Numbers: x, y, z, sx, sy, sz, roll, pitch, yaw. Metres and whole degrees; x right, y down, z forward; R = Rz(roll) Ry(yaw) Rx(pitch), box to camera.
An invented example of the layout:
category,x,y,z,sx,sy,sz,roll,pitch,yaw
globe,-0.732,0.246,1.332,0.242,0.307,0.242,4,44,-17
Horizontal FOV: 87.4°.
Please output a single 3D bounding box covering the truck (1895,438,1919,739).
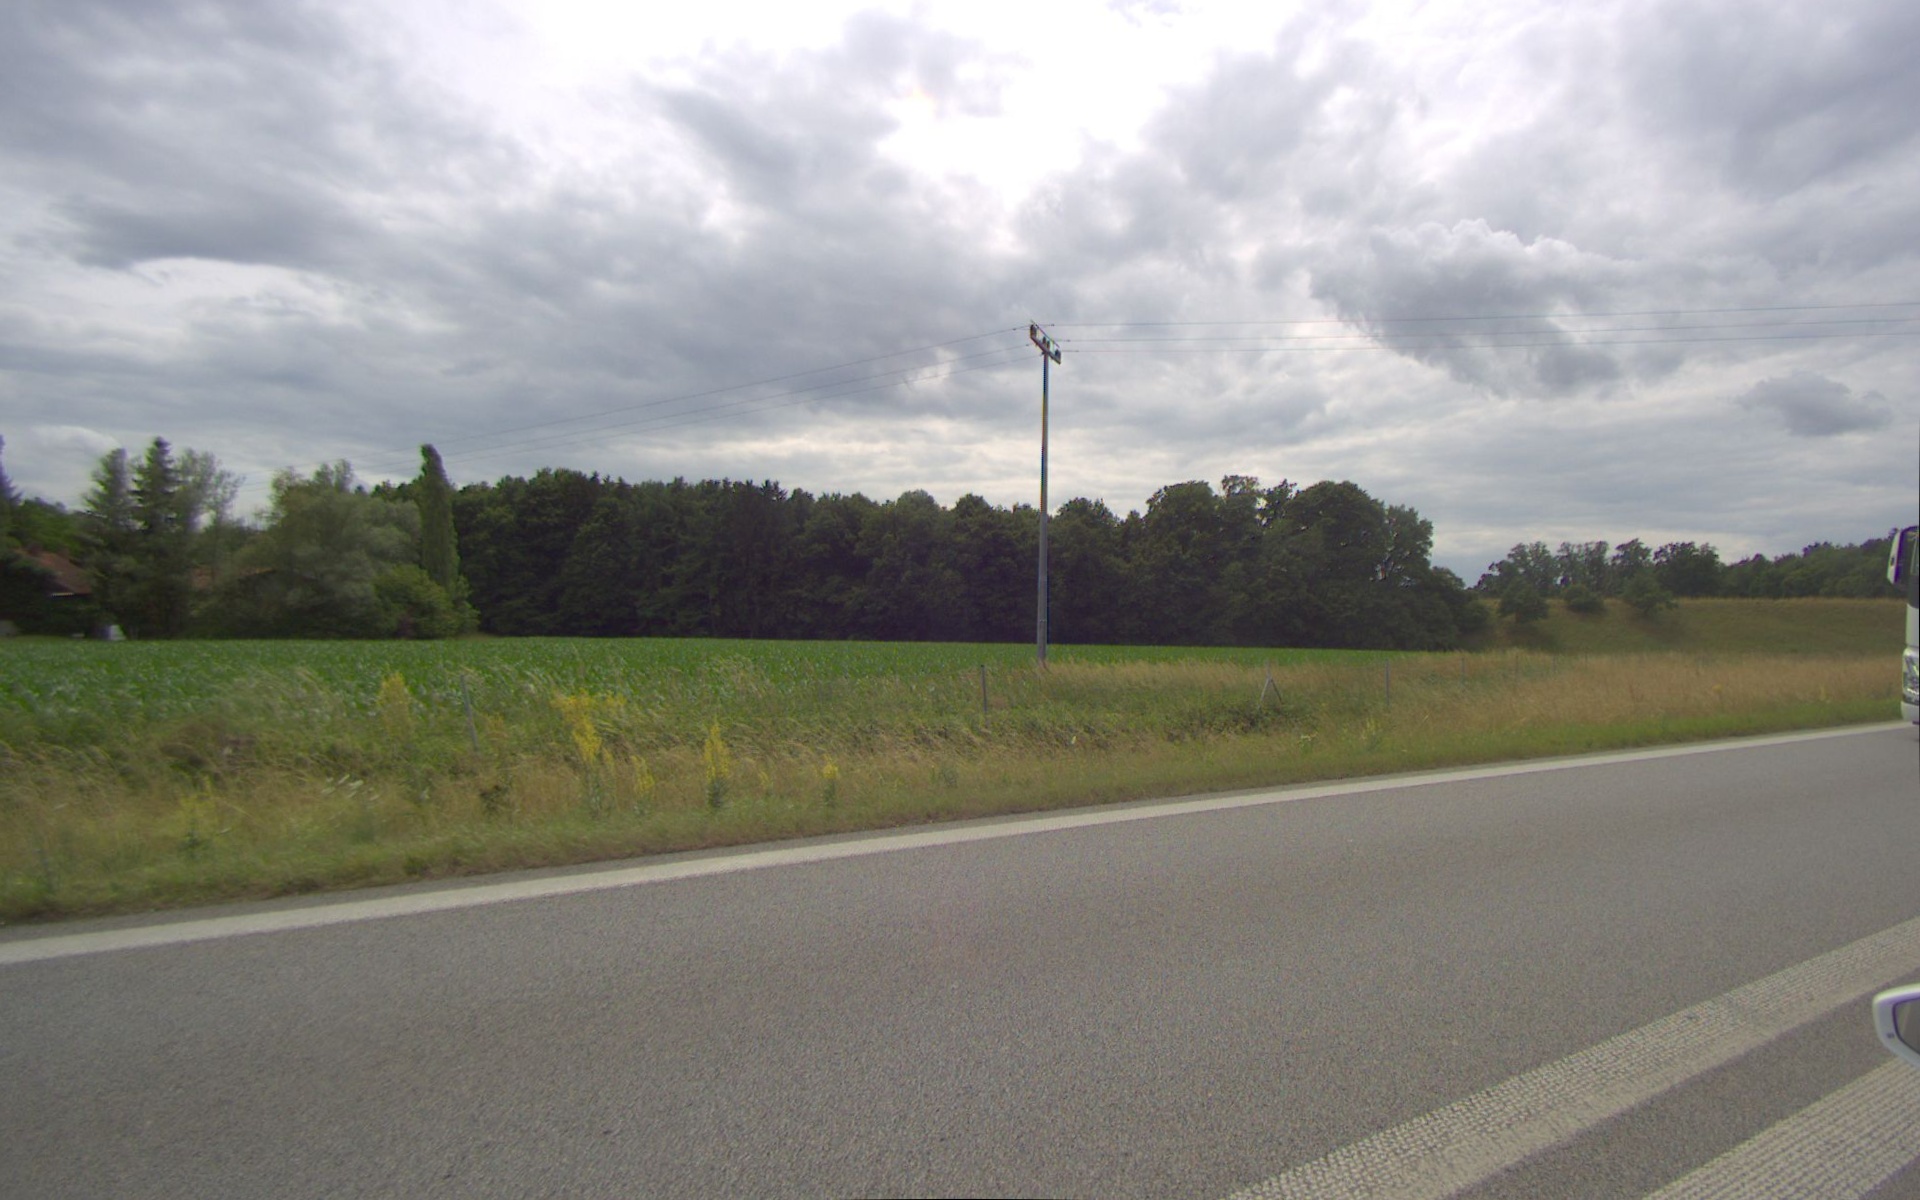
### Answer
category,x,y,z,sx,sy,sz,roll,pitch,yaw
truck,15.605,-0.121,13.933,5.143,4.049,2.478,1,0,-30
